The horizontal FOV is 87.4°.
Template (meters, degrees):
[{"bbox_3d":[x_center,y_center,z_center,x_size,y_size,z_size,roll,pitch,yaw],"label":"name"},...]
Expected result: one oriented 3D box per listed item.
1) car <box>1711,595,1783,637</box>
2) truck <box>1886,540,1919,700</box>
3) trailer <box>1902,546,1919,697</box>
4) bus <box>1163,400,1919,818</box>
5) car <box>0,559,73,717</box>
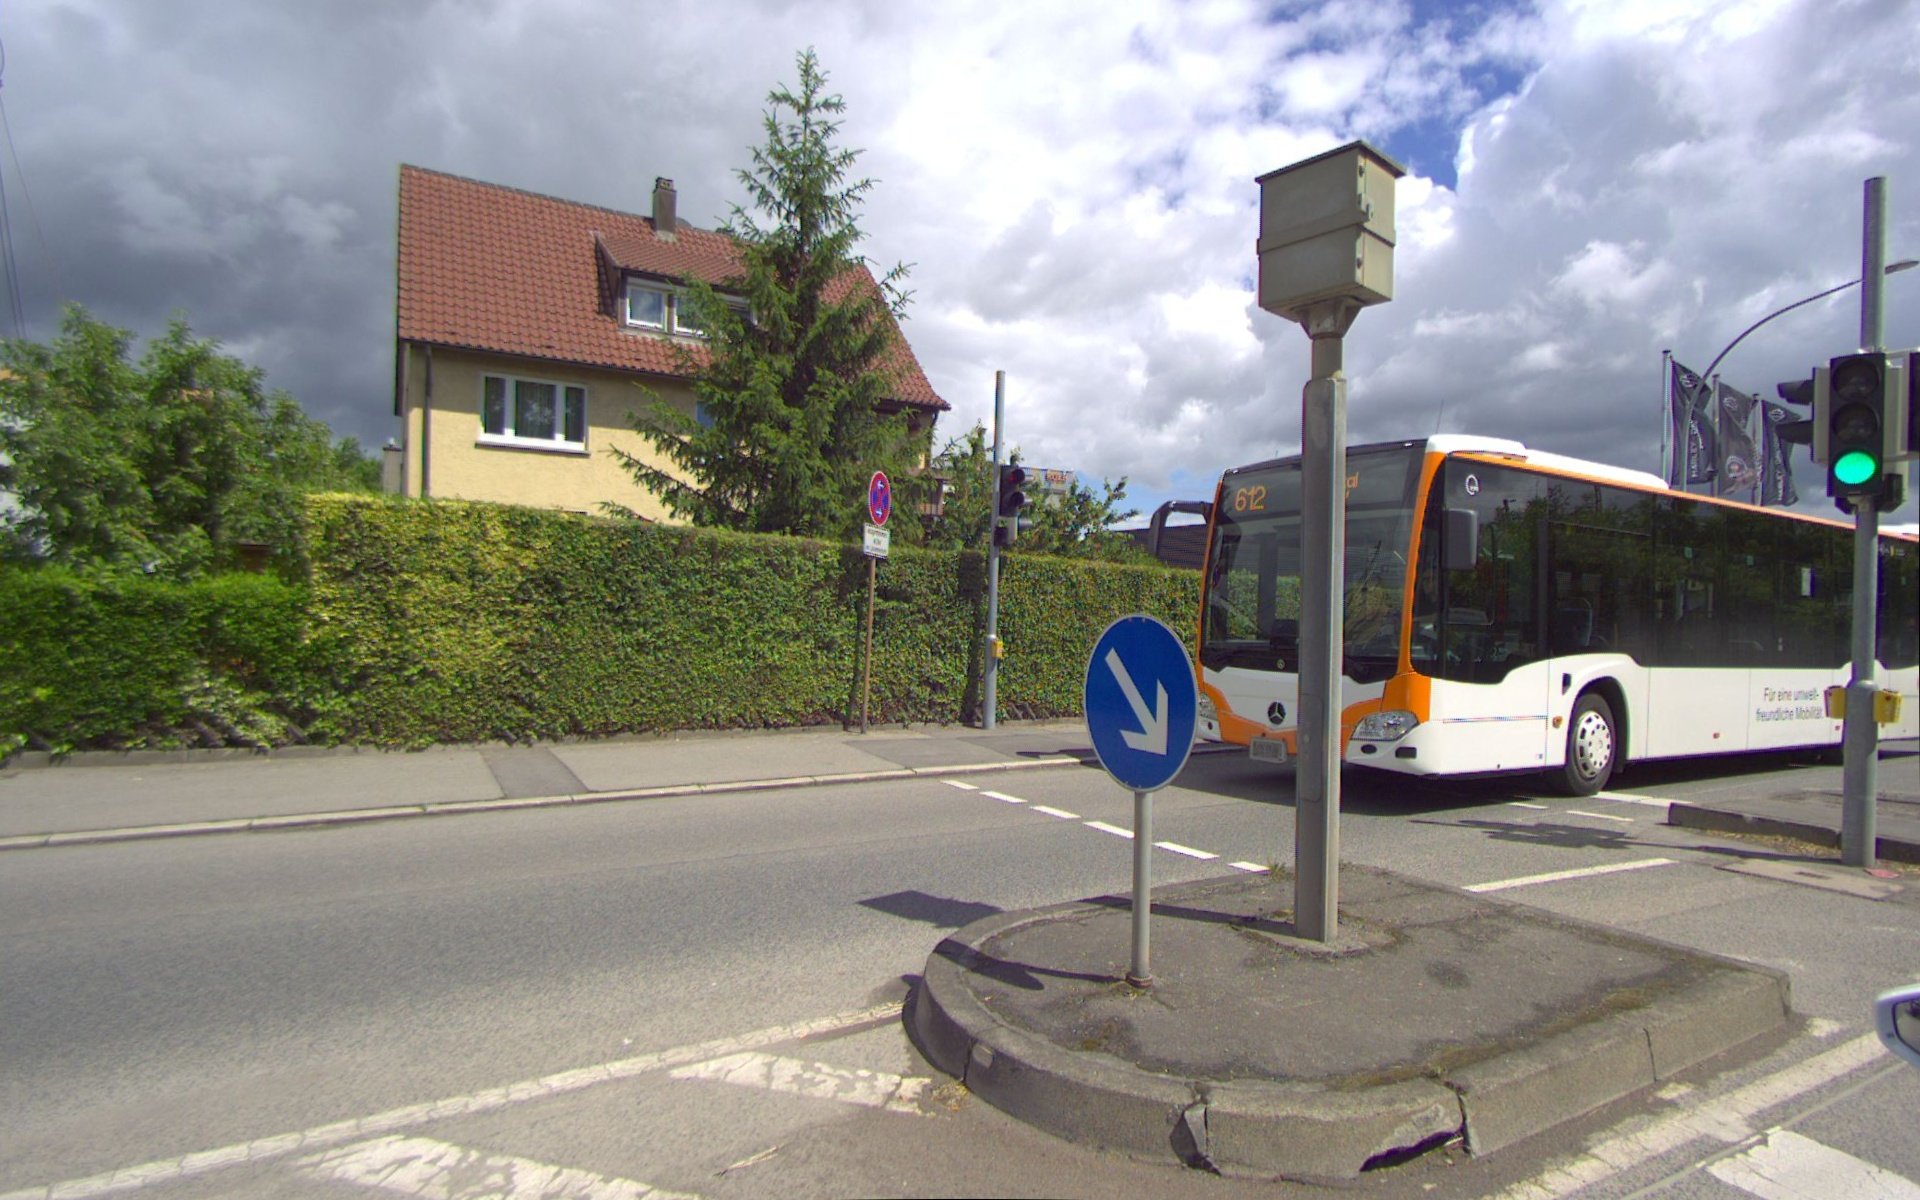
[{"bbox_3d":[27.349,0.560,34.883,2.656,1.382,1.039,2,0,-31],"label":"car"},{"bbox_3d":[27.584,0.628,27.079,6.443,4.107,2.778,2,0,-38],"label":"truck"},{"bbox_3d":[32.849,0.864,31.236,15.418,4.107,2.777,3,0,-38],"label":"trailer"},{"bbox_3d":[7.858,0.302,11.668,12.125,3.070,2.705,3,-2,-31],"label":"bus"},{"bbox_3d":[-11.648,0.293,9.891,3.950,1.561,1.985,2,0,-28],"label":"car"}]
